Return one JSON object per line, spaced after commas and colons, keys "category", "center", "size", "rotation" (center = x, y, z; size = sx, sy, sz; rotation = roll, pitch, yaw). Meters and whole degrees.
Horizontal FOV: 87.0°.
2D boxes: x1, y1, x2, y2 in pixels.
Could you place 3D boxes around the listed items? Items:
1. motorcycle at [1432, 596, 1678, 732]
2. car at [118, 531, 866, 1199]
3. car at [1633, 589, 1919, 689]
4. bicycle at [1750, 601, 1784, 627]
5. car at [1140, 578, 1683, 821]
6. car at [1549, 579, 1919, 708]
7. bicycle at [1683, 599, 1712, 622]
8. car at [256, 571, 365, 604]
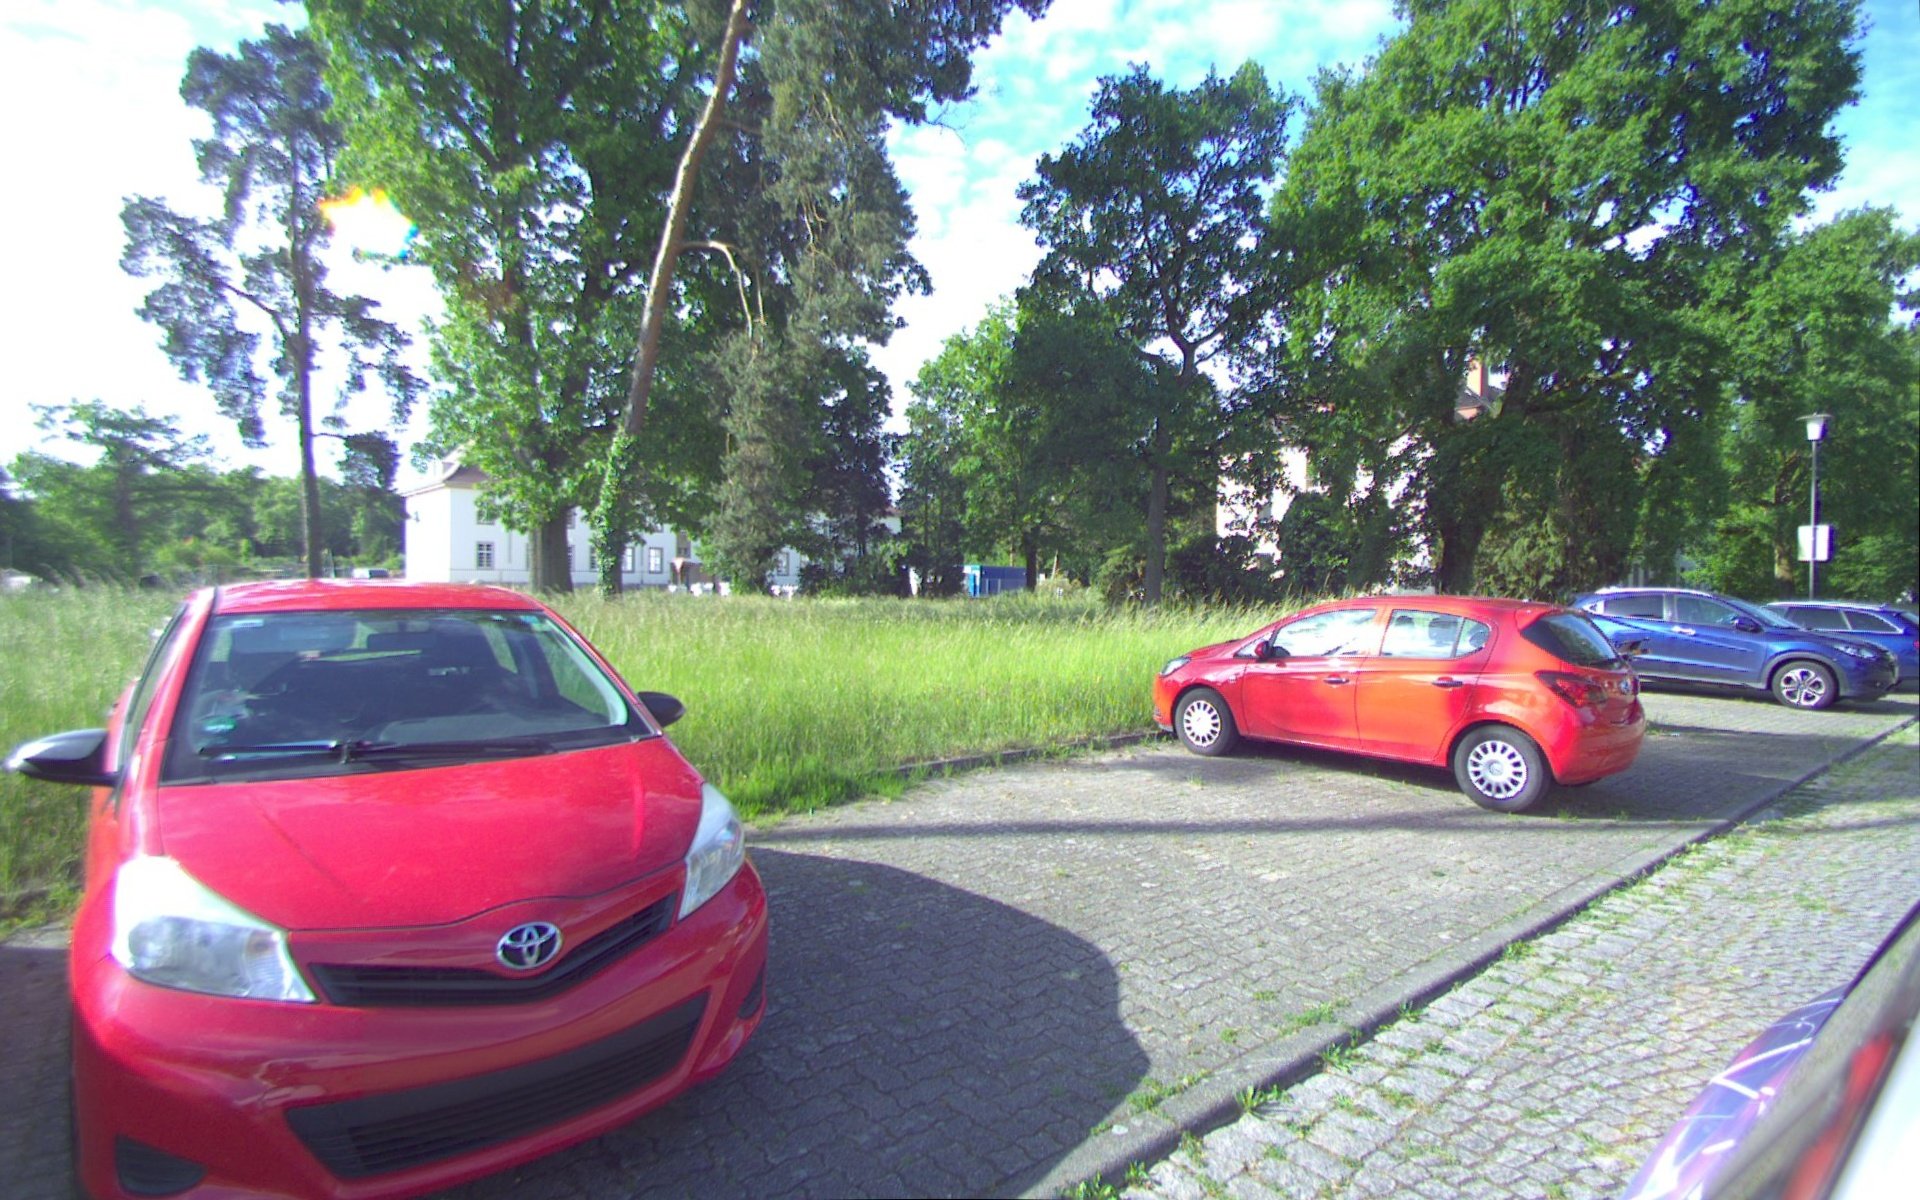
{"category": "motorcycle", "center": [6.770, 0.662, 11.650], "size": [0.713, 1.336, 2.304], "rotation": [0, 2, -40]}
{"category": "car", "center": [-2.084, 0.610, 3.796], "size": [1.616, 1.549, 3.771], "rotation": [0, 1, -39]}
{"category": "car", "center": [14.841, 0.613, 17.986], "size": [1.682, 1.425, 4.463], "rotation": [0, 3, -37]}
{"category": "bicycle", "center": [32.472, 0.567, 40.721], "size": [1.231, 1.029, 0.711], "rotation": [0, 1, -33]}
{"category": "car", "center": [3.555, 0.608, 8.520], "size": [1.617, 1.497, 3.834], "rotation": [0, 2, -41]}
{"category": "car", "center": [11.336, 0.513, 14.991], "size": [1.721, 1.611, 4.185], "rotation": [0, 1, -40]}
{"category": "bicycle", "center": [33.845, 0.473, 46.439], "size": [0.700, 1.029, 1.023], "rotation": [1, 1, 12]}
{"category": "car", "center": [-45.123, -0.887, 70.438], "size": [5.893, 2.198, 2.379], "rotation": [-1, 1, -7]}
